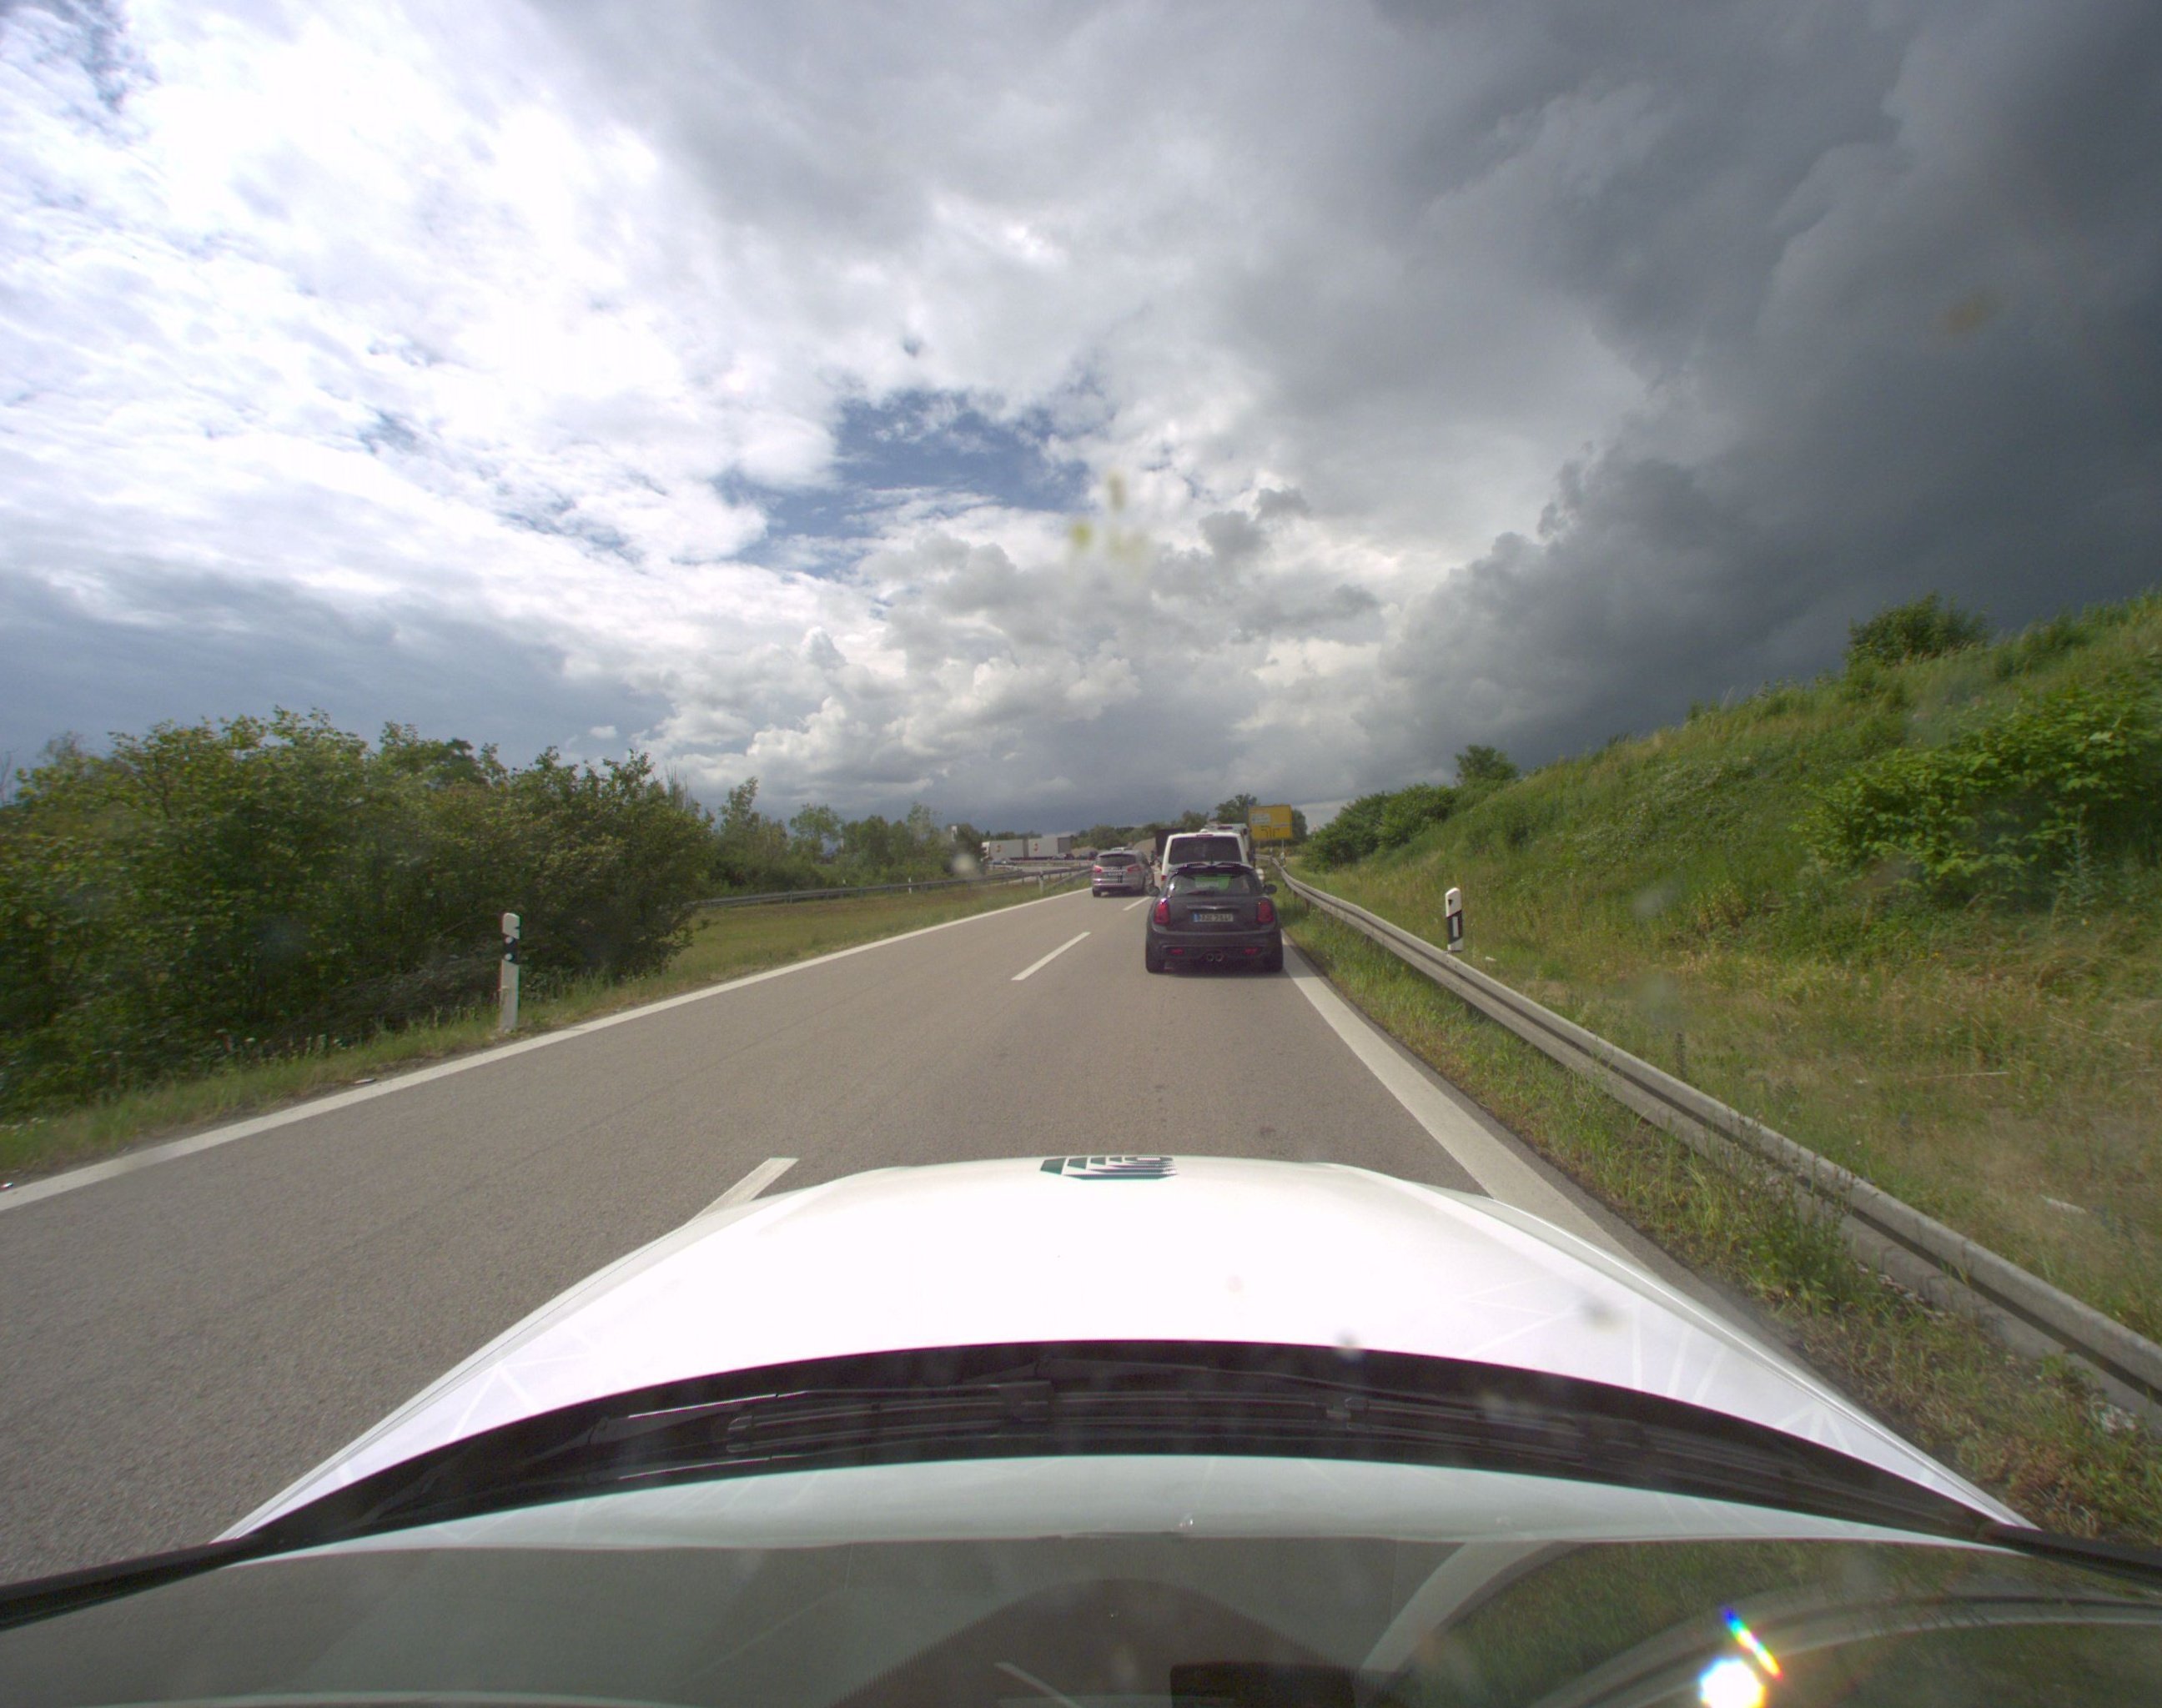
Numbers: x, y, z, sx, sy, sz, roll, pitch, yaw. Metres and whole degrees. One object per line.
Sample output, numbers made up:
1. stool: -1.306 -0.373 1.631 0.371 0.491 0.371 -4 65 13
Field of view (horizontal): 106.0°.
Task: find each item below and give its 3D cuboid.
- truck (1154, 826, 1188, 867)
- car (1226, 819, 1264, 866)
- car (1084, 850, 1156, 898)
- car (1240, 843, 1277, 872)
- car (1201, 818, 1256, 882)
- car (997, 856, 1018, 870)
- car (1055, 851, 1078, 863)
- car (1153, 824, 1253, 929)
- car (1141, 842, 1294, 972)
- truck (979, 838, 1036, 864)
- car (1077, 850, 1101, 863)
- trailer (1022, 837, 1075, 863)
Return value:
1. truck: 7.239 -0.497 66.182 2.548 3.168 7.477 0 -1 5
2. car: 11.535 -0.682 57.001 2.295 3.069 6.686 -1 -1 13
3. car: 1.544 0.708 30.050 2.008 1.577 4.600 -2 -1 10
4. car: 10.399 0.215 47.882 1.981 1.642 3.939 -1 -1 10
5. car: 6.539 -0.105 36.057 2.198 2.623 5.550 -1 -1 10
6. car: -9.912 1.224 109.344 1.767 1.593 3.971 -3 -1 -21
7. car: -2.078 0.466 117.636 1.821 1.756 3.966 0 -1 -25
8. car: 2.732 0.465 18.001 1.899 2.045 4.192 -1 -1 10
9. car: 1.853 0.647 11.619 1.790 1.546 3.745 -1 0 7
10. truck: -11.916 -0.438 131.741 9.900 3.976 2.863 -1 -1 38
11. car: 1.188 0.386 119.590 1.931 1.838 4.281 0 -1 -25
12. trailer: -5.076 -0.578 125.573 3.063 3.898 8.664 1 -2 -44
